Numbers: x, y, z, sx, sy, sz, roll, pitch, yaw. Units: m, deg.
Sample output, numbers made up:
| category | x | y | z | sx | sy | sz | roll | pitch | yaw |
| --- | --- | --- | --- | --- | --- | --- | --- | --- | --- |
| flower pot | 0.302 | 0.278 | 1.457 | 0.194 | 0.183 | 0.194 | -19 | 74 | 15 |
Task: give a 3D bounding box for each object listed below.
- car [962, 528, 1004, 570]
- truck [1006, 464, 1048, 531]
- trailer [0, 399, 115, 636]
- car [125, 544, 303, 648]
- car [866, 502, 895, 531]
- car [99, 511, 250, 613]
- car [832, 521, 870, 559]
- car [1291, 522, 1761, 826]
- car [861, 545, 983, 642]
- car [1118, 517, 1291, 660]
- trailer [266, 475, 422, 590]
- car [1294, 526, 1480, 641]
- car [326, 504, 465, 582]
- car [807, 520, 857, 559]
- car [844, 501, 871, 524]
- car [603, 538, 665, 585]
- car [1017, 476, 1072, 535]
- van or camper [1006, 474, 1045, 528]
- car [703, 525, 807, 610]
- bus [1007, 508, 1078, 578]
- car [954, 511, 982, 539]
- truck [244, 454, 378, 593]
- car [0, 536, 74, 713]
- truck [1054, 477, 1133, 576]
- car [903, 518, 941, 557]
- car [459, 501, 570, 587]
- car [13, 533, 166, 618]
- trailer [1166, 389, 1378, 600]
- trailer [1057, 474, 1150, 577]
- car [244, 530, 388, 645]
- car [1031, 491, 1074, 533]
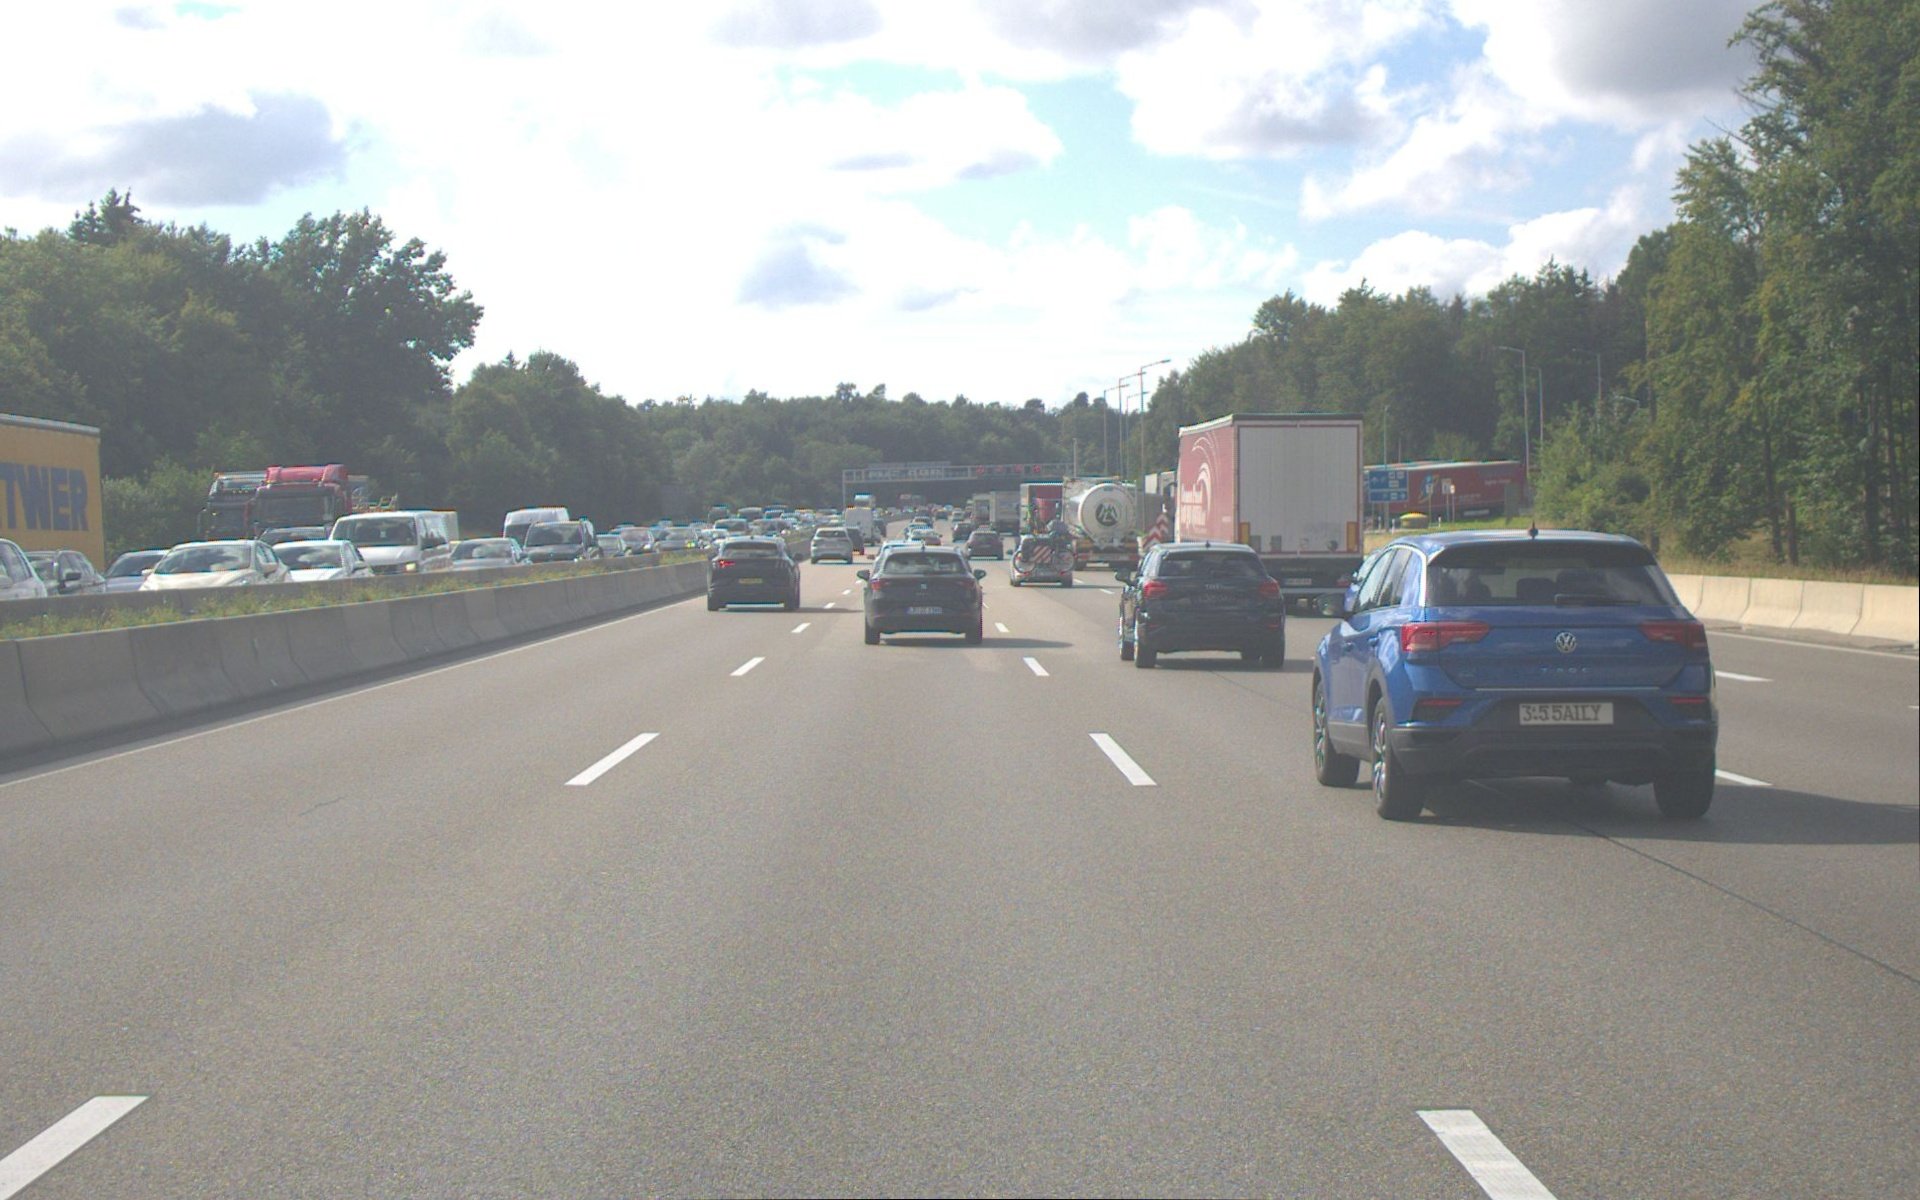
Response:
| category | x | y | z | sx | sy | sz | roll | pitch | yaw |
| --- | --- | --- | --- | --- | --- | --- | --- | --- | --- |
| car | 1.145 | -2.531 | 170.595 | 1.993 | 2.007 | 4.000 | 1 | 1 | -1 |
| truck | 3.926 | -6.016 | 203.326 | 2.358 | 3.560 | 11.266 | 0 | 0 | 1 |
| trailer | -18.584 | -1.482 | 63.741 | 2.771 | 4.220 | 13.661 | 0 | 0 | -2 |
| car | -10.694 | -0.082 | 49.516 | 1.757 | 1.372 | 4.000 | 2 | 1 | -2 |
| car | -5.692 | -5.967 | 246.330 | 1.993 | 2.007 | 4.000 | 1 | 1 | -1 |
| car | -14.291 | -0.725 | 62.763 | 1.745 | 1.760 | 4.843 | 1 | 1 | -2 |
| car | -6.041 | -3.339 | 190.339 | 1.993 | 2.007 | 4.000 | 2 | 1 | -1 |
| car | 3.100 | 0.346 | 19.791 | 1.924 | 1.536 | 4.645 | 0 | 1 | 0 |
| car | -0.598 | -0.116 | 51.423 | 1.734 | 1.360 | 4.000 | 1 | 1 | -2 |
| car | 2.950 | -0.157 | 42.225 | 1.799 | 1.639 | 4.000 | 1 | 1 | 0 |
| trailer | -19.152 | -2.166 | 107.808 | 2.727 | 3.324 | 14.222 | 0 | 2 | -2 |
| car | 5.916 | -0.242 | 48.039 | 1.715 | 1.506 | 4.303 | -1 | 1 | -5 |
| car | -10.610 | -1.045 | 64.989 | 1.849 | 1.350 | 5.489 | 0 | 0 | -2 |
| car | -5.906 | -2.788 | 159.099 | 2.154 | 1.770 | 4.000 | 1 | 1 | 0 |
| car | -6.872 | -5.848 | 230.733 | 1.623 | 1.465 | 3.815 | 1 | 1 | 0 |
| car | -11.239 | -1.343 | 118.661 | 1.836 | 1.585 | 4.289 | 0 | 1 | -2 |
| car | 4.522 | -5.075 | 185.546 | 2.866 | 2.981 | 5.149 | 0 | 0 | 1 |
| van or camper | 3.974 | -6.028 | 209.734 | 2.351 | 3.133 | 5.710 | 0 | 0 | 1 |
| car | -4.382 | -0.707 | 73.918 | 1.993 | 1.770 | 4.000 | 0 | 1 | 0 |
| bus | 2.458 | -1.694 | 103.207 | 1.993 | 2.007 | 4.000 | 0 | 0 | 0 |
| car | 0.592 | -5.502 | 252.378 | 1.993 | 2.007 | 4.000 | 1 | 1 | -1 |
| truck | -18.958 | -2.251 | 100.769 | 2.775 | 3.925 | 6.854 | 0 | 1 | -2 |
| car | -10.568 | 0.216 | 35.048 | 1.993 | 1.737 | 4.296 | 2 | 1 | -1 |
| truck | 5.665 | -3.100 | 147.351 | 3.045 | 4.146 | 7.127 | 0 | 1 | 0 |
| car | -2.080 | -3.419 | 187.455 | 1.993 | 2.007 | 4.000 | -1 | 0 | -1 |
| car | -8.647 | -1.094 | 66.999 | 1.723 | 1.598 | 4.000 | 1 | 1 | -2 |
| car | -14.889 | -0.396 | 58.997 | 1.733 | 1.396 | 3.836 | 0 | 0 | -2 |
| trailer | 6.440 | -2.036 | 73.237 | 3.038 | 4.021 | 13.890 | 0 | 0 | -1 |
| trailer | 5.767 | -2.969 | 140.344 | 3.036 | 4.002 | 12.246 | 0 | 0 | -1 |
| car | -10.640 | -0.198 | 57.035 | 1.686 | 1.810 | 4.296 | 0 | 0 | -2 |
| car | 4.696 | -4.483 | 175.282 | 1.993 | 2.007 | 4.000 | 0 | 0 | -1 |
